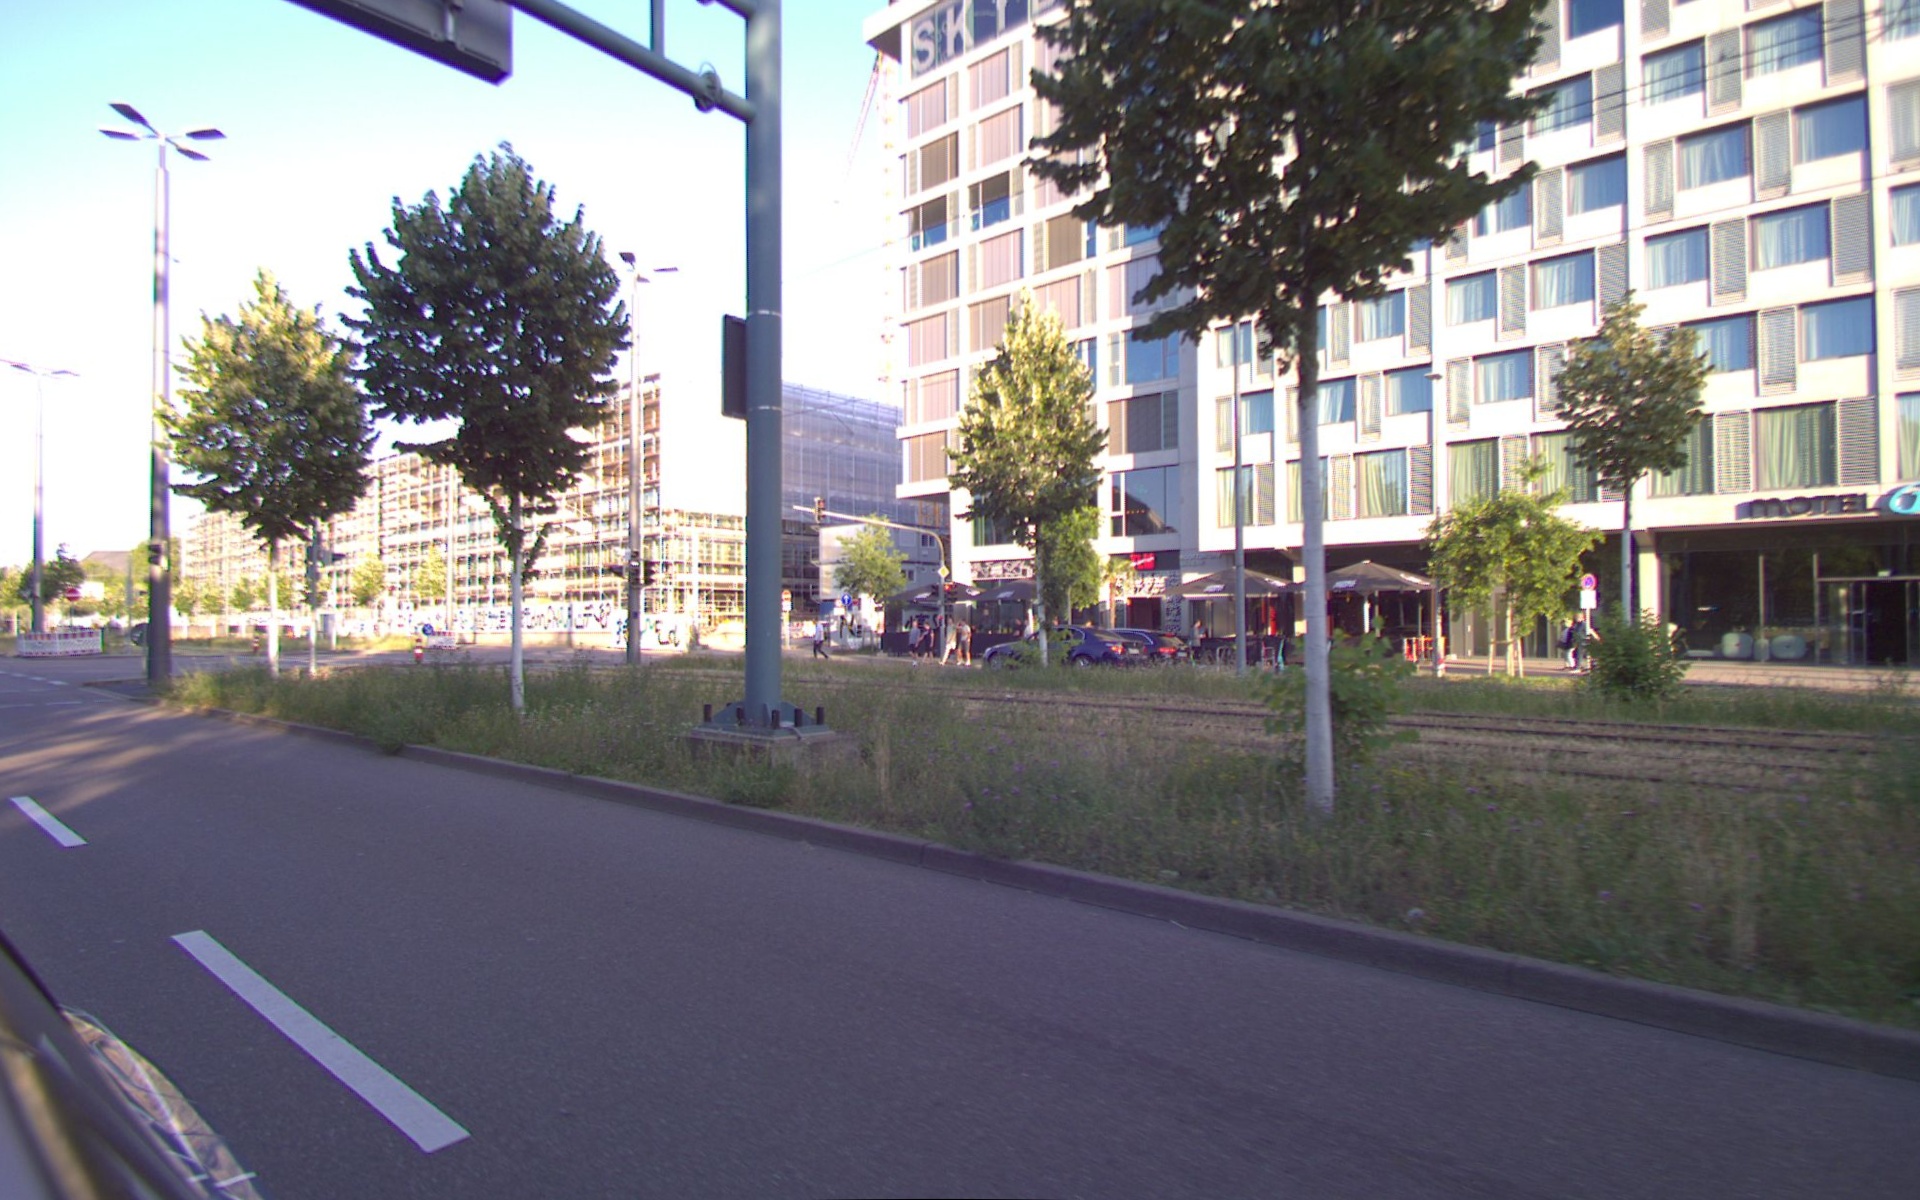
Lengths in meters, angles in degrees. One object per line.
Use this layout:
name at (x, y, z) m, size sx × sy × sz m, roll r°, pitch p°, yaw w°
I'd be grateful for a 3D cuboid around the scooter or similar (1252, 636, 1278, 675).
scooter or similar at (9.656, 1.744, 32.041) m, size 0.338 × 1.227 × 1.169 m, roll -2°, pitch -2°, yaw 41°

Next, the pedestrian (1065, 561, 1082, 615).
pedestrian at (4.340, -0.459, 38.646) m, size 0.494 × 2.029 × 0.552 m, roll 0°, pitch -2°, yaw -7°

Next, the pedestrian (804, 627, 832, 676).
pedestrian at (-5.435, 1.963, 38.761) m, size 0.762 × 1.850 × 0.699 m, roll -2°, pitch 0°, yaw 40°

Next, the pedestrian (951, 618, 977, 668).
pedestrian at (0.176, 1.693, 40.042) m, size 0.708 × 1.938 × 0.671 m, roll -2°, pitch 0°, yaw 42°

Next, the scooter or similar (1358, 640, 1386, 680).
scooter or similar at (12.105, 1.753, 29.722) m, size 0.338 × 1.065 × 1.169 m, roll -4°, pitch 1°, yaw 41°

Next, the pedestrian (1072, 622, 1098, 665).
pedestrian at (4.942, 1.713, 39.990) m, size 0.708 × 1.615 × 0.672 m, roll -2°, pitch 0°, yaw 39°

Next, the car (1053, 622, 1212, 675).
car at (4.986, 1.378, 29.537) m, size 4.220 × 1.451 × 1.866 m, roll -2°, pitch -2°, yaw 40°

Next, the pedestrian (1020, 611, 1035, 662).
pedestrian at (2.695, 1.454, 40.389) m, size 0.494 × 2.029 × 0.552 m, roll 0°, pitch -2°, yaw -7°

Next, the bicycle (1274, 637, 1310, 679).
bicycle at (10.412, 1.785, 31.677) m, size 0.442 × 1.208 × 1.891 m, roll -2°, pitch -1°, yaw 37°

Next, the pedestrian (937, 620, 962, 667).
pedestrian at (-0.419, 1.725, 40.553) m, size 0.680 × 1.849 × 0.699 m, roll -1°, pitch 1°, yaw 40°

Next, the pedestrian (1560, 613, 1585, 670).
pedestrian at (18.251, 1.219, 30.164) m, size 0.516 × 1.669 × 0.424 m, roll -2°, pitch 0°, yaw 42°

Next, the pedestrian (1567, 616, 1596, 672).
pedestrian at (18.167, 1.284, 29.566) m, size 0.603 × 1.612 × 0.491 m, roll -2°, pitch 0°, yaw 42°

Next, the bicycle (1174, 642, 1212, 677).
bicycle at (7.717, 1.956, 33.477) m, size 0.442 × 1.067 × 1.891 m, roll -2°, pitch -1°, yaw 37°

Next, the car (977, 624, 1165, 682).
car at (2.946, 1.422, 27.425) m, size 4.798 × 1.452 × 1.994 m, roll -2°, pitch -4°, yaw 41°

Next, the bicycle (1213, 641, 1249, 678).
bicycle at (8.810, 1.915, 32.844) m, size 0.442 × 1.067 × 1.891 m, roll -2°, pitch -1°, yaw 37°

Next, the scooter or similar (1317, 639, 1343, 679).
scooter or similar at (11.276, 1.781, 30.802) m, size 0.338 × 1.172 × 1.169 m, roll -2°, pitch -2°, yaw 41°
